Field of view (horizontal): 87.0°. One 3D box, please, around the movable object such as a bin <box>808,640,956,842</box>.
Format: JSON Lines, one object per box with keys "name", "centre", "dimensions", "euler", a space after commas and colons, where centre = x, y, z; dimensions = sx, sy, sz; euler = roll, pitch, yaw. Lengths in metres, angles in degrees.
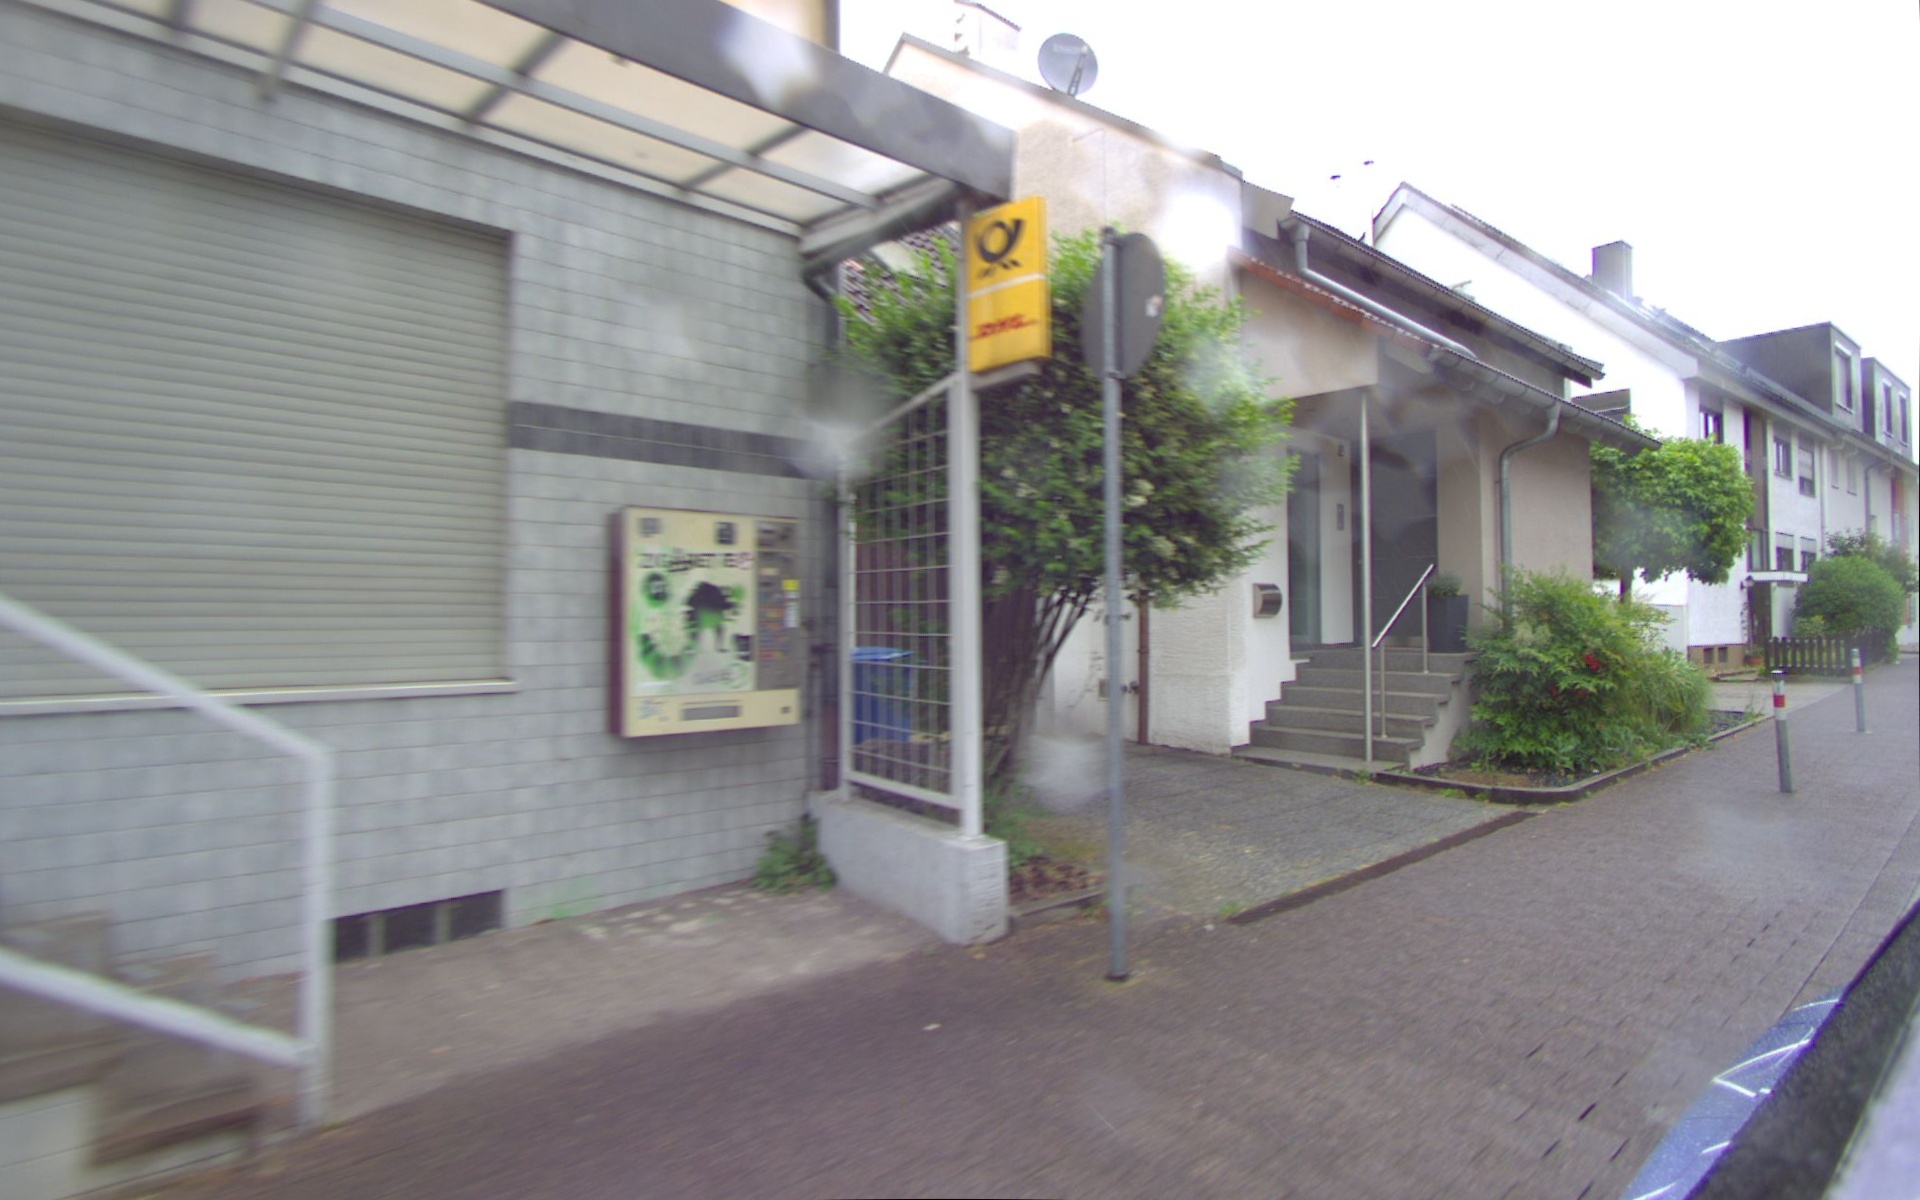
{"name": "movable object such as a bin", "centre": [-0.469, 0.807, 6.088], "dimensions": [0.726, 1.095, 0.510], "euler": [1, 0, -37]}
